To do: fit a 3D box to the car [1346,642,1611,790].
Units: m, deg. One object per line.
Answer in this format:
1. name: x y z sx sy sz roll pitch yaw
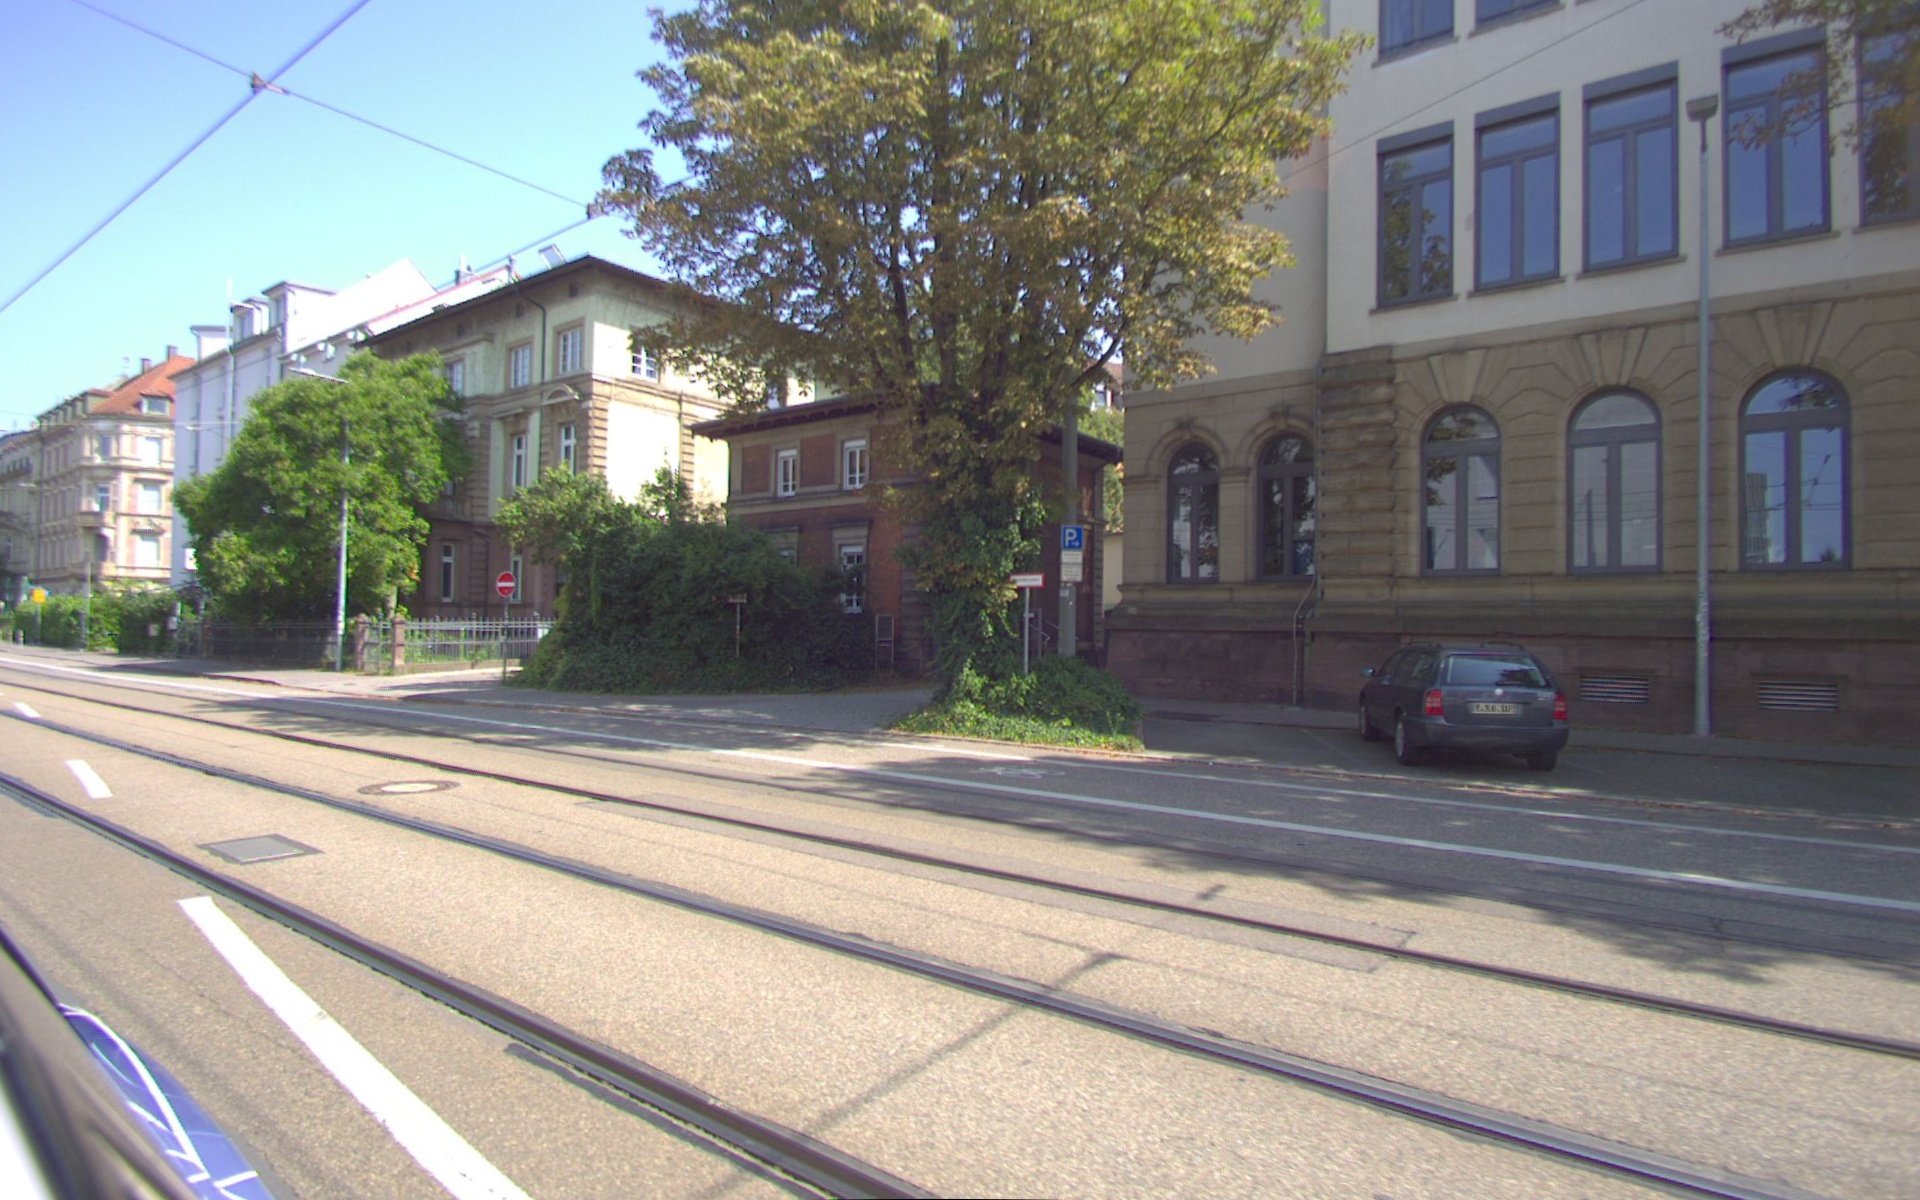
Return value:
1. car: 6.376 1.321 13.043 1.801 1.473 4.415 0 -2 10
